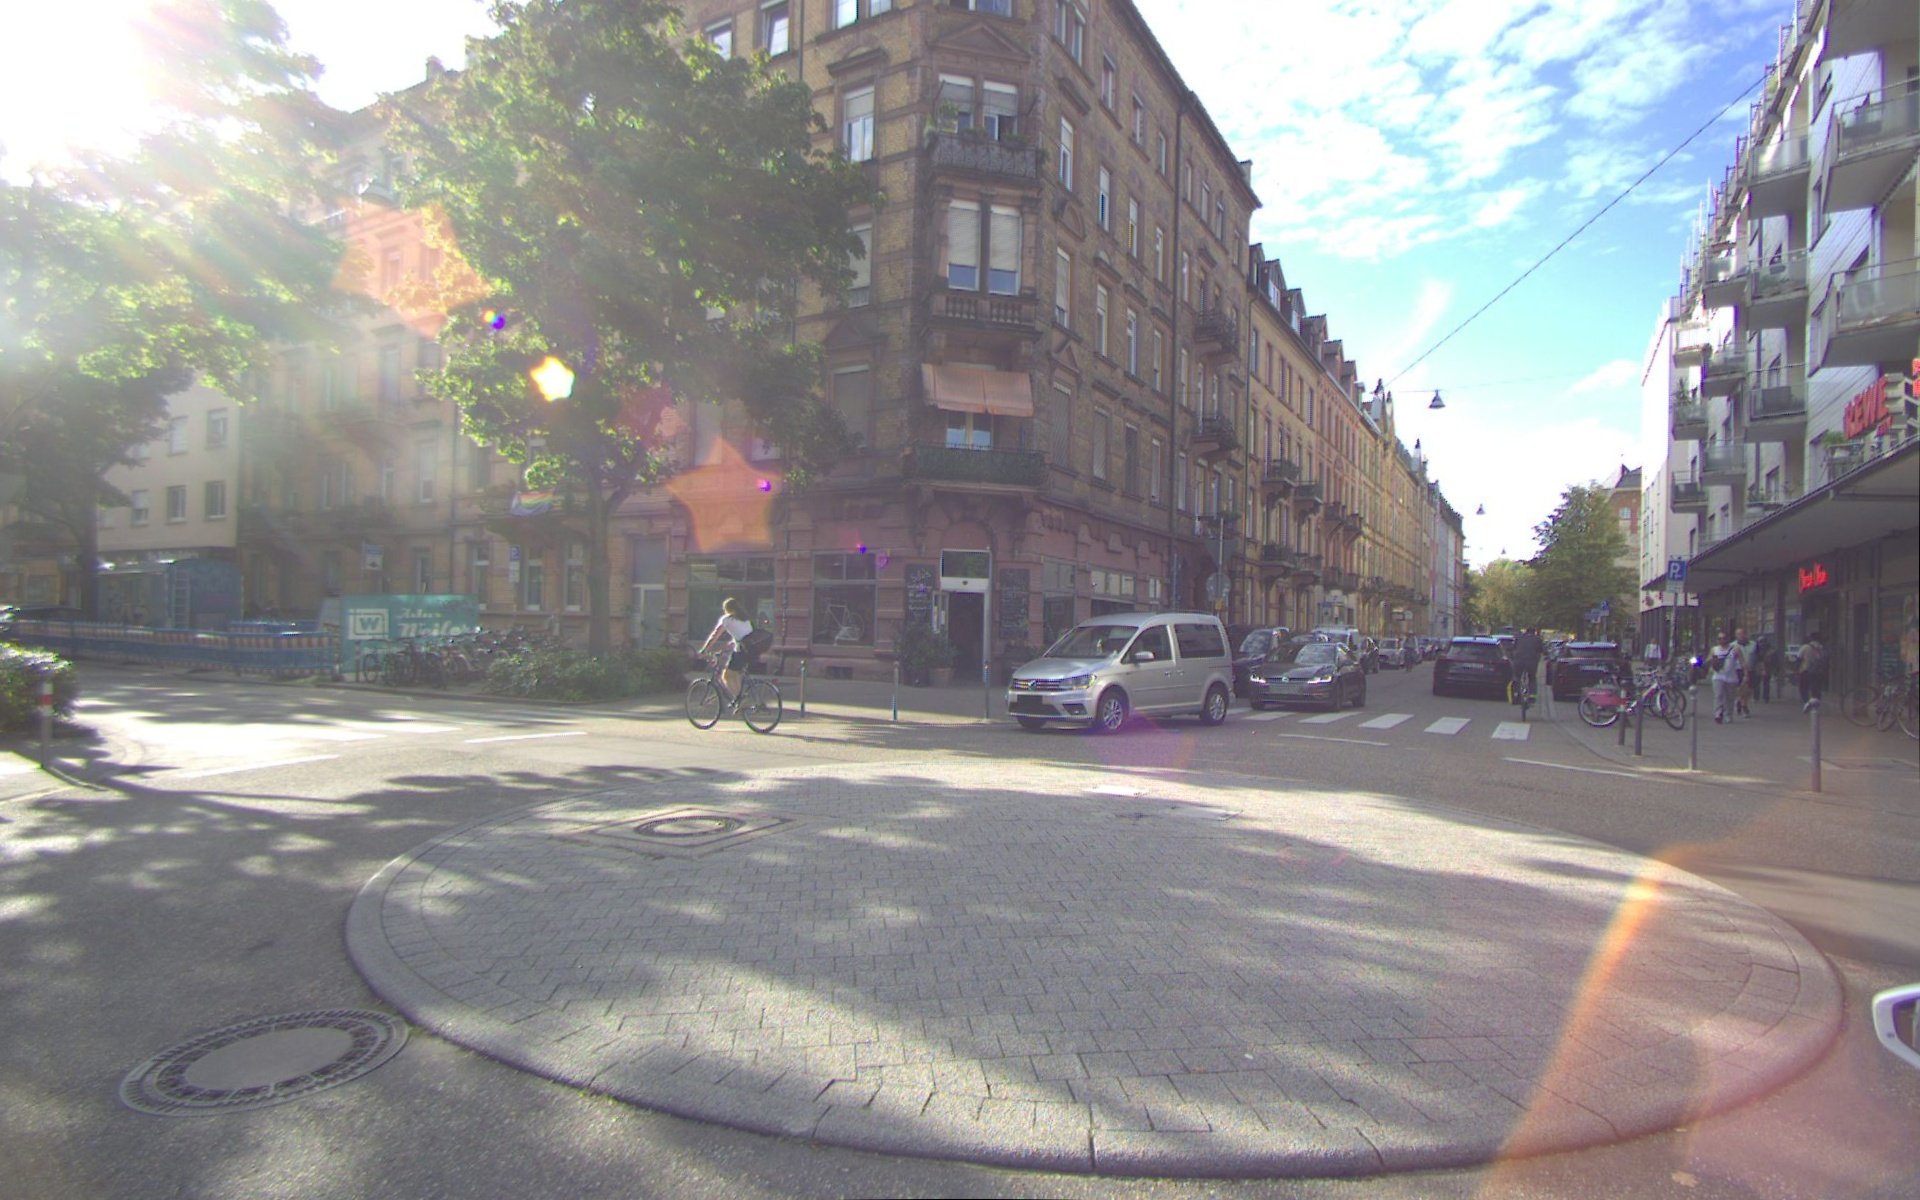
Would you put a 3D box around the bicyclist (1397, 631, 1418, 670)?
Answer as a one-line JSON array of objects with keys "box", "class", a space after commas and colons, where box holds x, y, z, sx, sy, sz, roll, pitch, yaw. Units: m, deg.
[{"box": [19.965, 2.234, 44.818, 0.690, 1.700, 1.111, 3, 0, 29], "class": "bicyclist"}]

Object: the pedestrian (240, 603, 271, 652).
[{"box": [-25.139, 0.977, 35.845, 0.511, 1.695, 0.700, 1, -1, 30], "class": "pedestrian"}]

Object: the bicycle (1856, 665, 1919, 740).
[{"box": [14.323, 1.525, 14.953, 0.664, 1.056, 1.735, 1, -2, 11], "class": "bicycle"}]

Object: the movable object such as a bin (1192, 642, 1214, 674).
[{"box": [5.696, 1.351, 23.519, 0.377, 0.723, 0.475, 2, 0, 26], "class": "movable object such as a bin"}]

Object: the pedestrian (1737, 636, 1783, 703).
[{"box": [19.865, 1.702, 24.964, 0.812, 1.609, 0.779, 0, -2, 32], "class": "pedestrian"}]

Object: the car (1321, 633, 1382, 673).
[{"box": [16.425, 2.214, 42.018, 1.716, 1.503, 3.976, 3, -1, 31], "class": "car"}]

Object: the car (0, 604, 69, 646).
[{"box": [-38.107, 0.979, 39.794, 1.852, 1.623, 3.980, 2, 0, 41], "class": "car"}]

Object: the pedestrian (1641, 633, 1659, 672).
[{"box": [31.441, 2.387, 45.768, 0.603, 1.749, 1.124, 0, -1, 31], "class": "pedestrian"}]

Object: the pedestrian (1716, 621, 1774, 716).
[{"box": [16.037, 1.383, 20.534, 0.873, 1.858, 1.043, -2, -3, 38], "class": "pedestrian"}]

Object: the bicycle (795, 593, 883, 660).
[{"box": [-2.922, 0.628, 24.241, 2.124, 1.541, 0.556, 1, -1, 26], "class": "bicycle"}]

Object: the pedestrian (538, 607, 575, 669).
[{"box": [-10.919, 1.020, 27.160, 0.797, 1.599, 0.612, 2, 3, 37], "class": "pedestrian"}]

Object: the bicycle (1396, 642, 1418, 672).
[{"box": [19.887, 2.533, 44.698, 0.690, 1.236, 2.114, 3, 0, 28], "class": "bicycle"}]

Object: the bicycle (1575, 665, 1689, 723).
[{"box": [13.203, 1.828, 19.779, 1.759, 1.085, 0.569, -1, -1, 21], "class": "bicycle"}]

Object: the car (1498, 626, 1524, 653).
[{"box": [44.477, 3.170, 81.010, 1.756, 2.046, 3.881, 2, 0, 29], "class": "car"}]

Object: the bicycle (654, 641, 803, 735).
[{"box": [-3.209, 1.194, 13.914, 1.939, 1.215, 0.693, 0, -3, 23], "class": "bicycle"}]

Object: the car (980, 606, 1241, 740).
[{"box": [2.475, 1.083, 15.800, 4.301, 1.814, 1.812, 2, -3, -43], "class": "car"}]

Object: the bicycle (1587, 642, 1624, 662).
[{"box": [37.407, 3.003, 58.197, 1.738, 1.161, 0.411, -2, -2, 25], "class": "bicycle"}]

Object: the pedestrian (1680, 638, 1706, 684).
[{"box": [26.165, 2.165, 35.863, 0.635, 1.609, 0.779, -1, -2, 32], "class": "pedestrian"}]

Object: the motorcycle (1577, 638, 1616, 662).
[{"box": [42.331, 3.326, 66.818, 2.122, 1.550, 0.684, -2, -2, 36], "class": "motorcycle"}]

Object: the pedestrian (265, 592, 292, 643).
[{"box": [-24.766, 0.642, 36.496, 0.511, 1.842, 0.624, 1, -1, 30], "class": "pedestrian"}]

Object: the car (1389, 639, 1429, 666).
[{"box": [26.105, 3.041, 58.317, 1.665, 1.405, 3.859, 3, 0, 31], "class": "car"}]

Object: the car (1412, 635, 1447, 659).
[{"box": [30.654, 3.060, 65.547, 1.665, 1.405, 3.859, 3, 0, 31], "class": "car"}]

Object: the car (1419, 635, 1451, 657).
[{"box": [33.355, 3.209, 70.509, 1.665, 1.456, 3.859, 3, 0, 31], "class": "car"}]

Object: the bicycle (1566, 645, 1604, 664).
[{"box": [35.492, 3.087, 57.065, 1.738, 1.070, 0.411, -2, -2, 26], "class": "bicycle"}]

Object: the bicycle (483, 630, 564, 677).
[{"box": [-10.372, 1.248, 23.848, 2.038, 1.025, 0.591, 1, 1, 25], "class": "bicycle"}]

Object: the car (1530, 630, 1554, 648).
[{"box": [57.211, 3.851, 98.735, 1.902, 1.660, 3.992, 2, 0, 31], "class": "car"}]

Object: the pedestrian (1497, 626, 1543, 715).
[{"box": [11.062, 1.371, 19.822, 0.708, 1.672, 0.928, 2, 0, 31], "class": "pedestrian"}]

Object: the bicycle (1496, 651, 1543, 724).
[{"box": [11.007, 1.681, 19.729, 0.708, 1.291, 1.880, 2, 0, 31], "class": "bicycle"}]

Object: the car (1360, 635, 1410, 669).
[{"box": [21.102, 2.533, 49.846, 1.716, 1.503, 3.975, 3, 0, 31], "class": "car"}]

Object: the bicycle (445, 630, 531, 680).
[{"box": [-10.695, 1.233, 22.748, 2.038, 1.025, 0.591, 1, 1, 25], "class": "bicycle"}]

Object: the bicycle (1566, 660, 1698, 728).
[{"box": [12.008, 1.665, 18.036, 1.855, 1.140, 0.906, -2, -2, 29], "class": "bicycle"}]

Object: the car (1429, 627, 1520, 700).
[{"box": [14.202, 1.704, 27.612, 1.936, 1.763, 4.033, 2, -1, 31], "class": "car"}]

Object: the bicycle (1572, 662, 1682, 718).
[{"box": [13.513, 1.813, 20.403, 1.759, 1.085, 0.586, -1, -1, 21], "class": "bicycle"}]

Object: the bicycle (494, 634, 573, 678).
[{"box": [-10.455, 1.352, 24.618, 2.038, 0.981, 0.591, 1, 1, 25], "class": "bicycle"}]

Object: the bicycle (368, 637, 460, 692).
[{"box": [-11.556, 1.340, 21.241, 2.101, 1.043, 0.591, 1, 1, 25], "class": "bicycle"}]

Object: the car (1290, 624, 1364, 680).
[{"box": [13.767, 1.895, 37.544, 1.891, 1.896, 4.429, 1, -1, 29], "class": "car"}]

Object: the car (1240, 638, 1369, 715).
[{"box": [7.374, 1.565, 21.280, 1.766, 1.456, 3.992, -1, -3, 31], "class": "car"}]

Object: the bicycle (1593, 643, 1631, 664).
[{"box": [36.368, 2.985, 56.062, 1.741, 1.177, 0.648, -2, -2, 33], "class": "bicycle"}]

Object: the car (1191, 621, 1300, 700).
[{"box": [7.660, 1.548, 26.663, 1.734, 1.797, 4.399, 3, 0, 29], "class": "car"}]

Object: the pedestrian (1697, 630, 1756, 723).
[{"box": [14.449, 1.425, 18.954, 0.790, 1.692, 1.020, 0, -3, 33], "class": "pedestrian"}]

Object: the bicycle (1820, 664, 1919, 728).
[{"box": [16.062, 1.673, 17.794, 0.730, 1.028, 1.782, -2, -3, 24], "class": "bicycle"}]

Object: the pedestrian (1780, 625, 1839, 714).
[{"box": [17.370, 1.412, 20.565, 0.703, 1.770, 0.816, -2, -2, 28], "class": "pedestrian"}]

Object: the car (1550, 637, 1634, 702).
[{"box": [17.241, 1.855, 27.529, 1.767, 1.626, 3.916, -2, -3, 31], "class": "car"}]

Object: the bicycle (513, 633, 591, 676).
[{"box": [-10.310, 1.357, 25.367, 2.038, 0.981, 0.591, 1, 1, 25], "class": "bicycle"}]

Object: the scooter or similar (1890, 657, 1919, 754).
[{"box": [12.759, 1.365, 13.066, 0.622, 1.229, 1.254, -1, -2, 28], "class": "scooter or similar"}]

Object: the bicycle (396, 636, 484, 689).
[{"box": [-11.319, 1.339, 21.862, 2.038, 1.043, 0.591, 1, 1, 25], "class": "bicycle"}]

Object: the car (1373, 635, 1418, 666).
[{"box": [23.321, 2.654, 53.726, 1.716, 1.503, 3.975, 3, 0, 31], "class": "car"}]

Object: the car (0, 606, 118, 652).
[{"box": [-34.883, 1.100, 38.334, 1.852, 1.623, 3.980, 2, 0, 41], "class": "car"}]

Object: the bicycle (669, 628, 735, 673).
[{"box": [-6.693, 1.301, 26.035, 1.751, 1.081, 0.527, 2, -1, 29], "class": "bicycle"}]

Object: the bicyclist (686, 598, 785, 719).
[{"box": [-3.097, 0.796, 13.882, 1.106, 1.607, 0.693, 0, -3, 23], "class": "bicyclist"}]
